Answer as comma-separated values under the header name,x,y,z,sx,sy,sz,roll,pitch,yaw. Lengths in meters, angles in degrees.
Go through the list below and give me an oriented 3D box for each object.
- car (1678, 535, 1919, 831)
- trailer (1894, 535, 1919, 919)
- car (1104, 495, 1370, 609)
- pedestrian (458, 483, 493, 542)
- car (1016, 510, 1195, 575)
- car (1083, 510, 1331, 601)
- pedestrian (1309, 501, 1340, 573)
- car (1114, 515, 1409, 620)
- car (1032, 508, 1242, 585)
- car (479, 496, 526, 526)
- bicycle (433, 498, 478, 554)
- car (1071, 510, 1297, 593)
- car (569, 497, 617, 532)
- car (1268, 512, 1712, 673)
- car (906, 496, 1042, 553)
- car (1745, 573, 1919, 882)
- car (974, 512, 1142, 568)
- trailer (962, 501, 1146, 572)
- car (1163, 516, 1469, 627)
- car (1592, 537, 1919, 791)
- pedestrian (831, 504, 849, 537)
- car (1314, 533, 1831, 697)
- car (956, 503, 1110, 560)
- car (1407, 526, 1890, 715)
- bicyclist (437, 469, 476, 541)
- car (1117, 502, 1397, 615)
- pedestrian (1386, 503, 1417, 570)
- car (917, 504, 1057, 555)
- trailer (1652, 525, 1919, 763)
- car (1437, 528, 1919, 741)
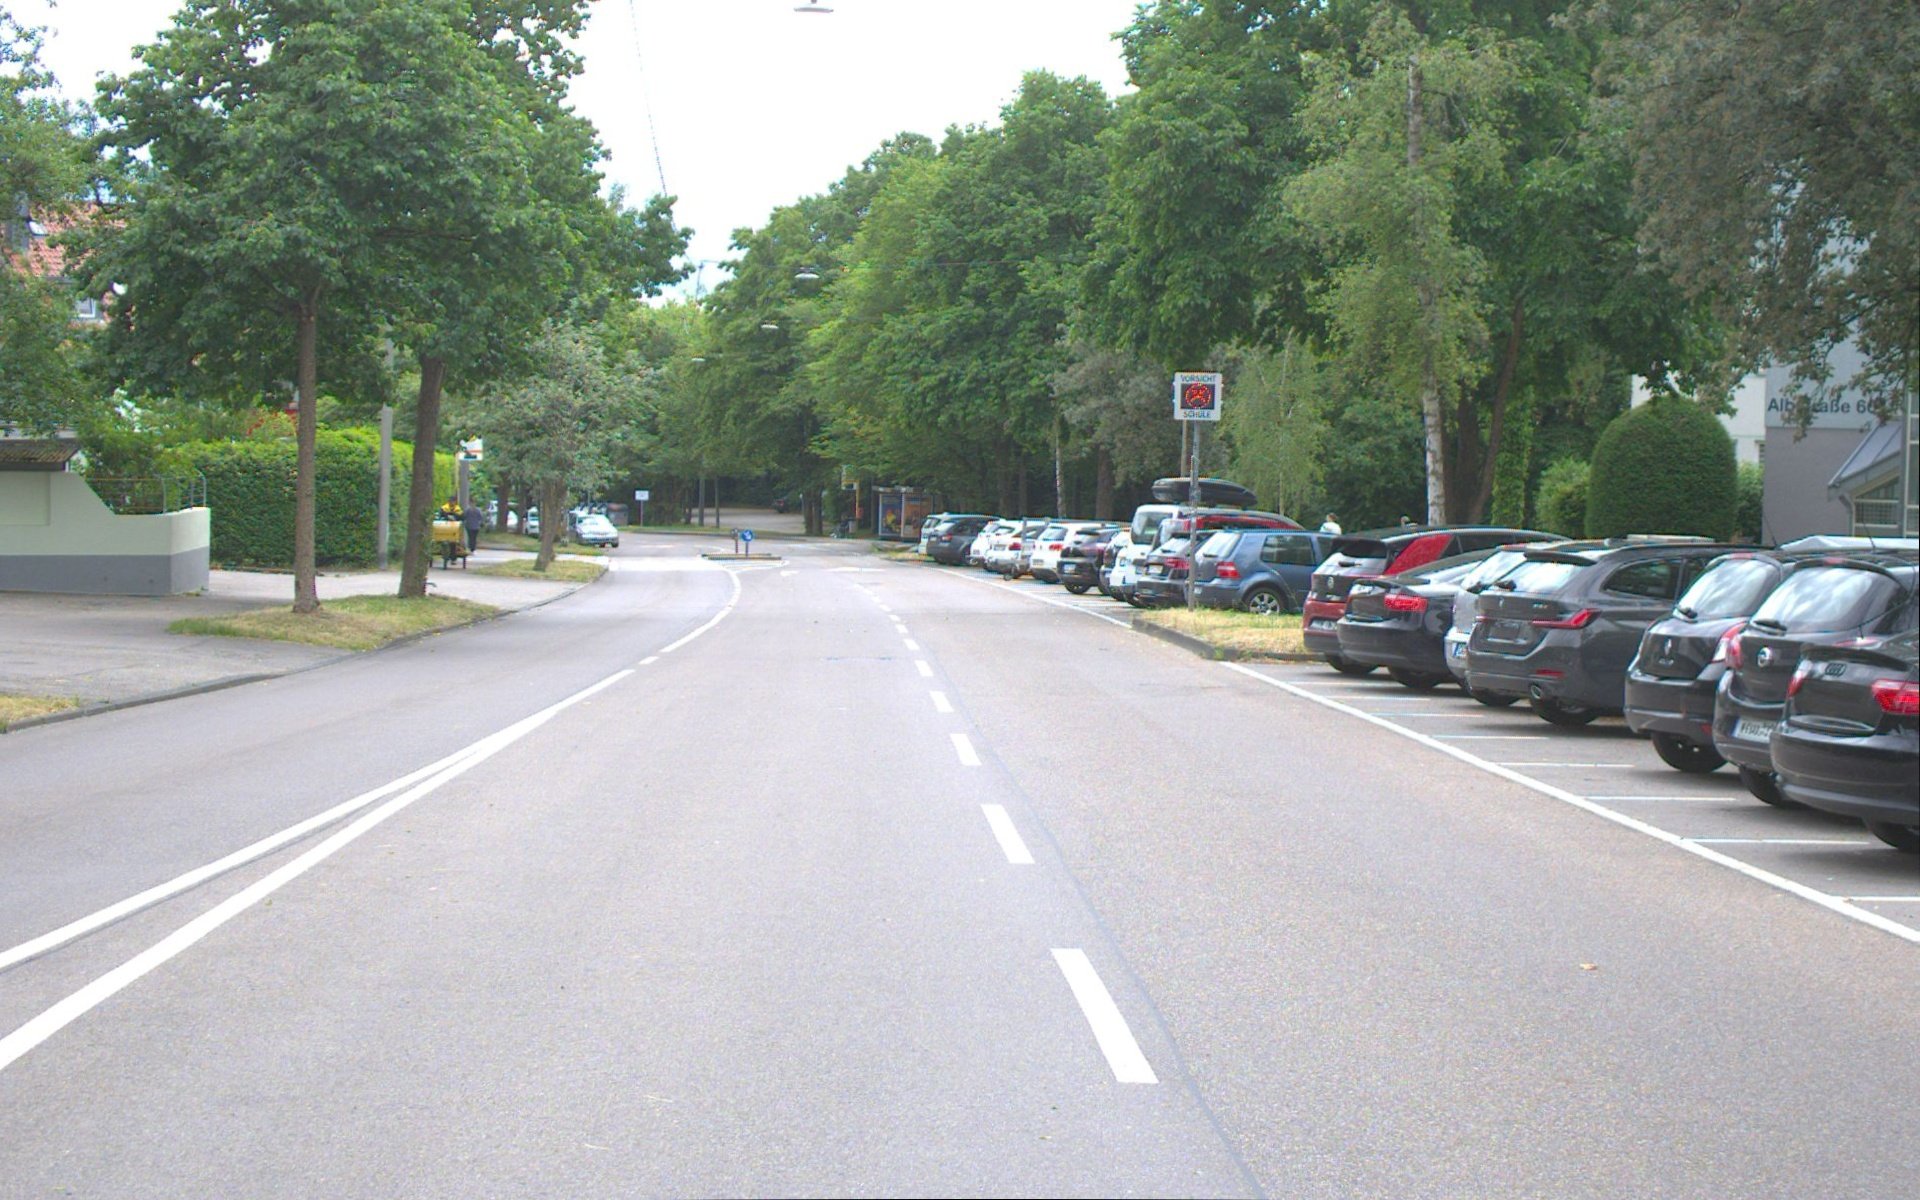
name,x,y,z,sx,sy,sz,roll,pitch,yaw
car,6.140,0.460,18.976,3.910,1.481,1.619,2,2,-16
trailer,5.798,0.600,13.526,3.687,1.529,1.647,2,2,-13
car,4.670,-0.805,57.951,4.085,1.748,1.787,2,2,-28
pedestrian,-14.512,-2.626,102.967,0.974,1.724,0.849,1,1,-5
car,3.486,-1.383,82.611,3.883,1.444,1.744,1,2,-23
car,4.417,-0.807,61.688,3.965,1.444,1.919,2,1,-17
pedestrian,8.495,-1.466,80.120,0.649,1.665,0.743,1,1,4
car,4.558,-0.490,52.071,4.026,1.400,1.757,2,2,-19
car,3.676,-1.112,71.397,3.883,1.444,1.845,1,2,-25
car,-23.345,-4.549,175.406,1.866,1.466,4.002,1,2,-15
bicycle,-12.039,-1.786,82.168,0.844,1.262,2.652,2,2,-4
car,4.321,-0.936,66.425,3.883,1.444,1.845,2,1,-21
car,-15.735,-3.680,147.350,1.866,1.466,4.001,1,2,-9
car,5.316,-0.071,34.485,4.070,1.510,1.734,1,2,-23
car,0.446,-2.394,108.545,3.883,1.662,1.744,1,2,-21
car,5.917,0.607,16.108,4.036,1.323,1.560,2,1,-10
car,2.492,-1.525,87.451,3.884,1.305,1.744,1,2,-26
trailer,2.320,-1.568,84.756,4.153,1.567,1.712,2,1,-21
car,5.115,-0.413,49.556,3.963,1.400,1.757,2,2,-16
car,6.109,0.408,21.546,3.839,1.450,1.635,2,2,-13
pedestrian,-5.701,-3.781,163.639,0.741,1.564,0.651,1,1,9
car,5.618,0.135,31.646,4.311,1.336,1.734,2,1,-15
car,2.034,-1.909,95.798,3.883,1.424,1.744,1,2,-21
car,5.806,0.163,29.079,3.609,1.440,1.635,2,2,-17
bicyclist,-12.010,-2.273,81.987,0.844,1.691,0.714,2,2,-5
car,4.739,-0.676,55.009,3.995,1.614,1.885,2,2,-17
pedestrian,10.545,-1.522,82.175,0.649,1.597,0.743,1,1,4
car,0.831,-2.163,105.770,3.883,1.424,1.744,1,2,-21
trailer,6.504,0.310,23.912,2.985,1.536,1.304,2,2,-14
car,5.985,0.265,26.086,4.343,1.440,1.635,2,2,-16
